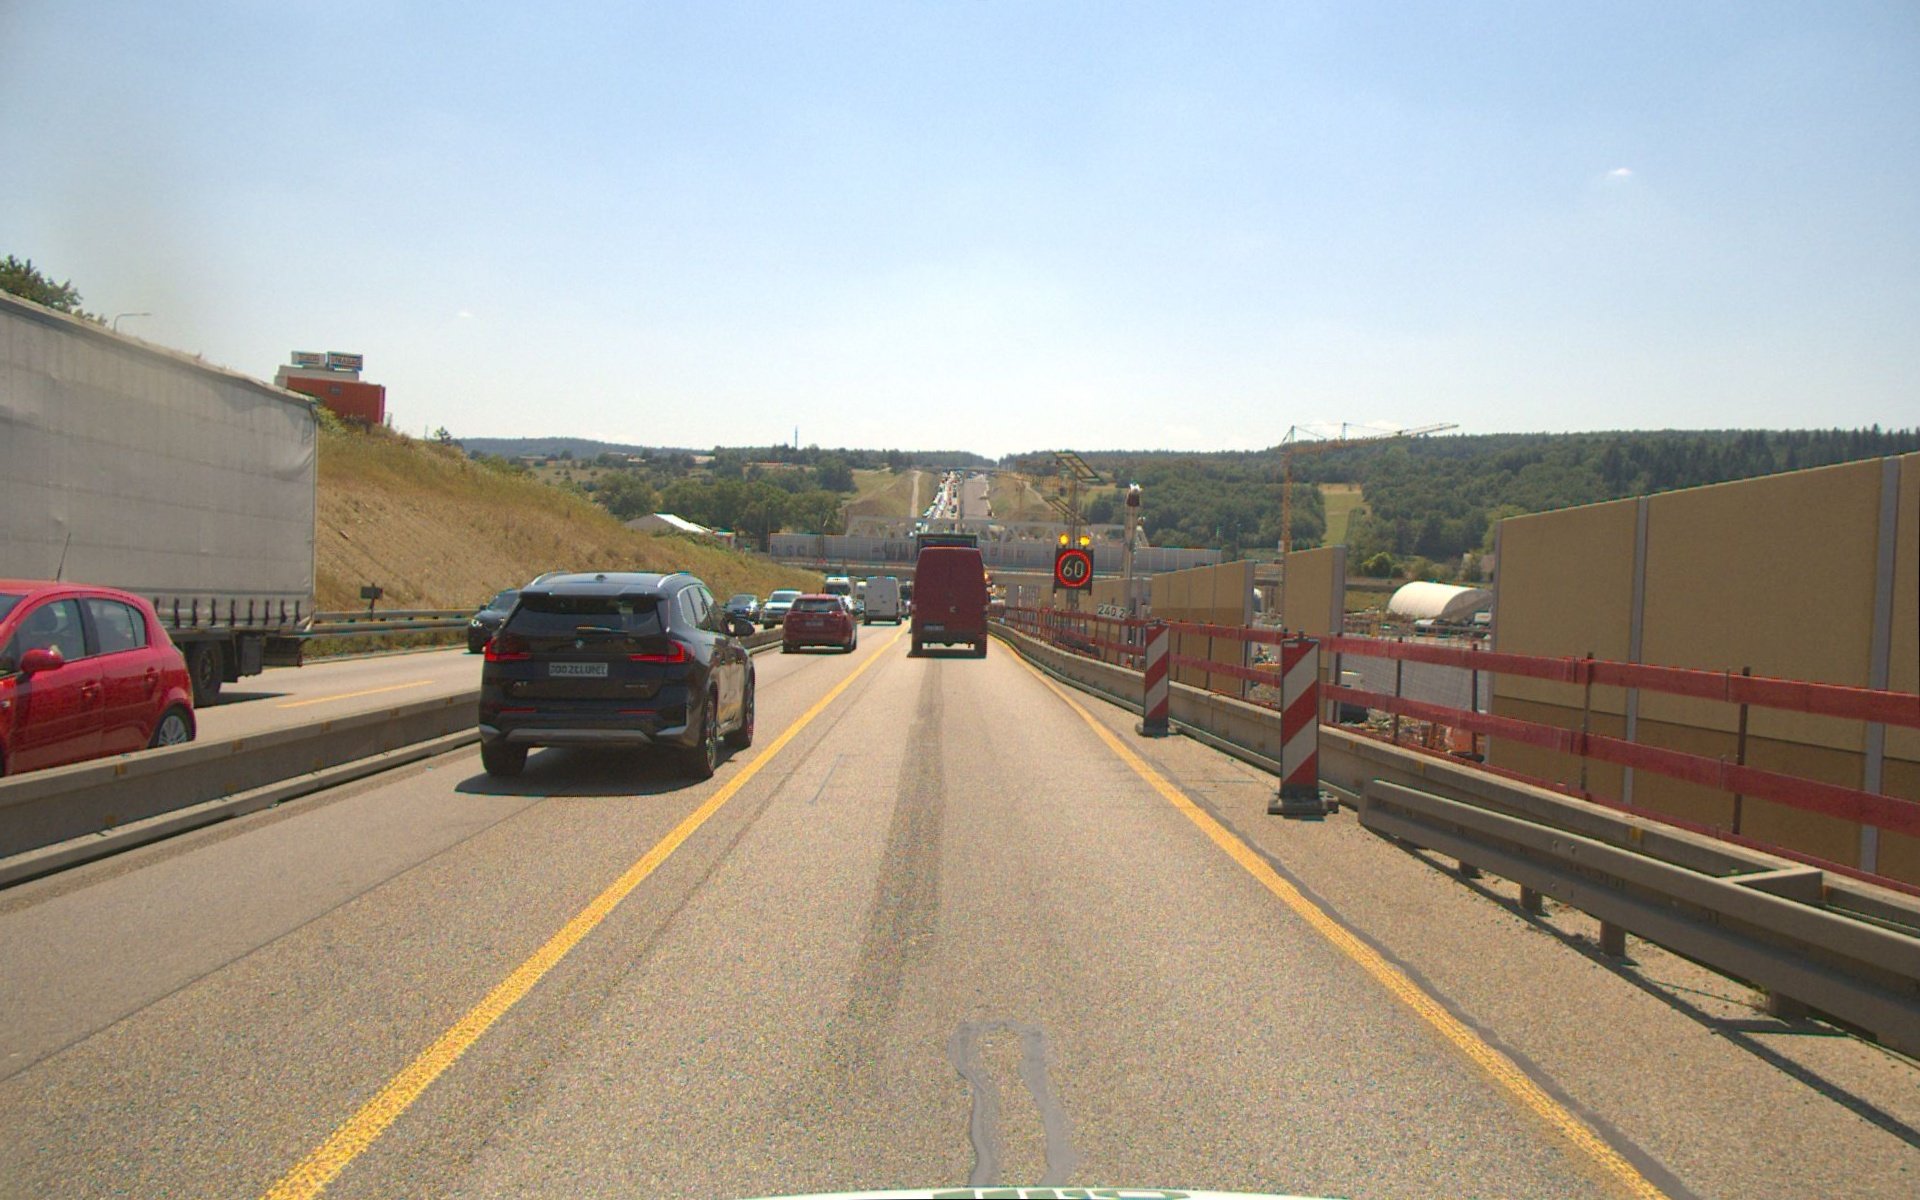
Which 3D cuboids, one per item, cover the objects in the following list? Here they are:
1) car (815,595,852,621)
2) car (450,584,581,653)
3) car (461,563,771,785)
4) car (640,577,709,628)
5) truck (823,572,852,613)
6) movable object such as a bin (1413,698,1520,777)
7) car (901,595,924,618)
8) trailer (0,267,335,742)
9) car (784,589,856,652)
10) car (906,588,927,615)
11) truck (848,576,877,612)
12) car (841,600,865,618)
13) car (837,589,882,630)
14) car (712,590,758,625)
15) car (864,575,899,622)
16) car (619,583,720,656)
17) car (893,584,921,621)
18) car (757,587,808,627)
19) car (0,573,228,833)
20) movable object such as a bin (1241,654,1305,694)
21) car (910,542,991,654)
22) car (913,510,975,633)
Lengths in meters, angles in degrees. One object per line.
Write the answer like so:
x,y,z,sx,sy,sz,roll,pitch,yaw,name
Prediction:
-7.682,0.479,100.833,1.915,1.525,5.089,1,0,-1,car
-10.704,0.440,40.162,1.953,1.533,4.717,1,0,-1,car
-2.818,0.552,14.567,1.841,1.646,4.498,0,0,-1,car
-11.243,0.082,65.479,1.997,1.960,5.120,0,0,-2,car
-12.641,-0.764,170.656,2.643,4.121,3.954,1,0,-1,truck
19.193,5.178,62.949,2.555,2.533,4.453,2,0,-1,movable object such as a bin
-3.562,0.484,124.572,1.740,1.699,4.027,0,0,-1,car
-10.003,-0.878,16.162,2.729,4.255,13.975,1,0,-1,trailer
-3.629,0.495,42.892,1.741,1.544,4.202,0,0,-5,car
-3.833,0.146,145.566,1.740,2.370,4.205,0,0,-1,car
-9.585,-0.608,162.789,2.486,3.433,7.036,1,0,-1,truck
-8.928,0.702,138.278,1.760,1.452,4.948,1,0,-1,car
-4.285,0.392,71.095,1.802,1.683,4.163,0,0,-1,car
-11.002,0.354,81.145,1.650,1.613,5.125,1,0,-1,car
-4.264,-0.068,89.936,1.740,2.484,4.205,0,0,-1,car
-7.119,0.474,40.914,1.795,1.695,4.413,1,0,-1,car
-3.476,0.149,109.199,1.740,2.370,4.205,0,0,-1,car
-7.846,0.289,73.418,1.802,1.683,5.369,0,0,-1,car
-6.319,0.574,10.458,1.636,1.492,3.999,1,0,-1,car
23.215,5.455,123.032,3.099,2.488,7.894,3,0,0,movable object such as a bin
-0.267,-0.052,42.719,1.948,2.737,4.622,0,0,-1,car
-0.738,-1.186,74.165,2.568,5.120,10.394,0,0,-1,car
